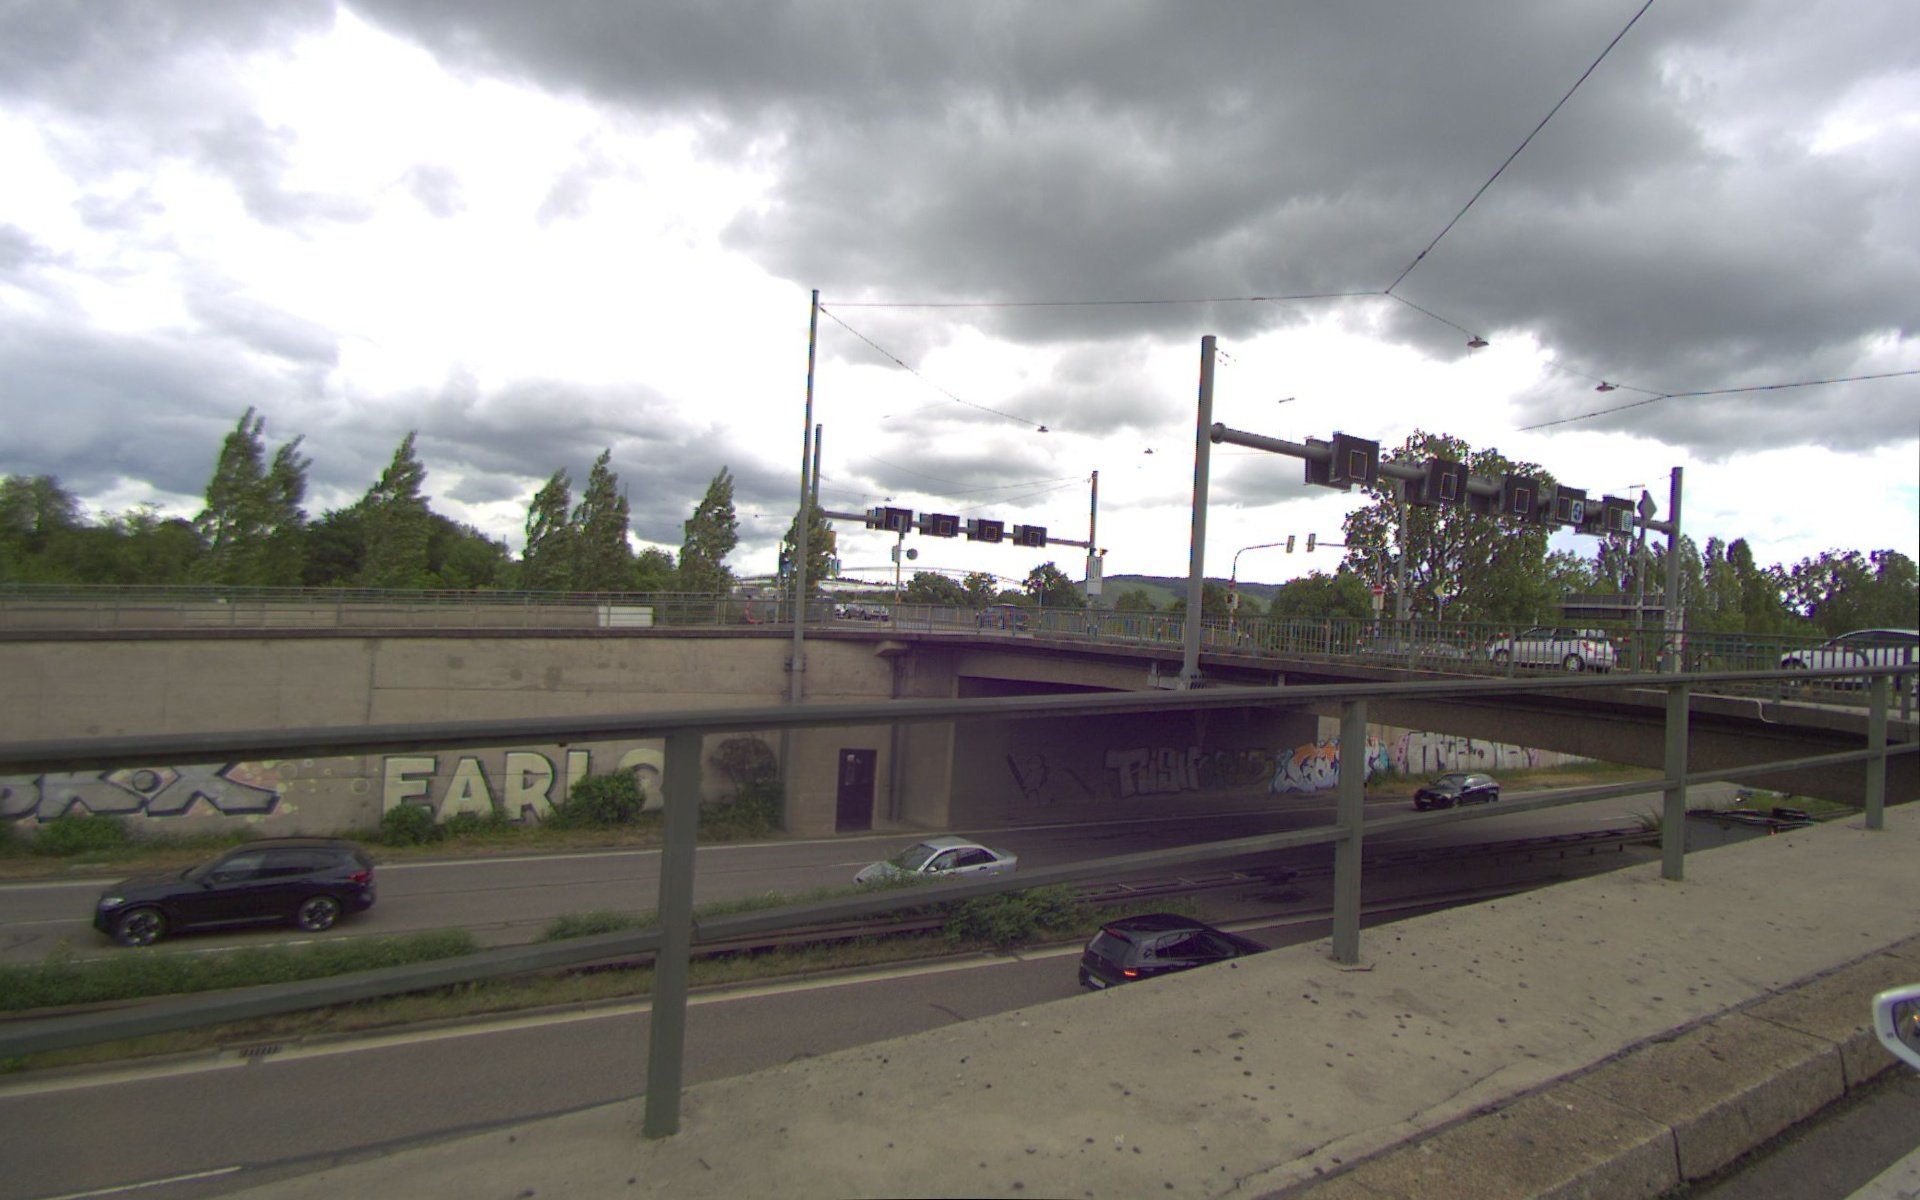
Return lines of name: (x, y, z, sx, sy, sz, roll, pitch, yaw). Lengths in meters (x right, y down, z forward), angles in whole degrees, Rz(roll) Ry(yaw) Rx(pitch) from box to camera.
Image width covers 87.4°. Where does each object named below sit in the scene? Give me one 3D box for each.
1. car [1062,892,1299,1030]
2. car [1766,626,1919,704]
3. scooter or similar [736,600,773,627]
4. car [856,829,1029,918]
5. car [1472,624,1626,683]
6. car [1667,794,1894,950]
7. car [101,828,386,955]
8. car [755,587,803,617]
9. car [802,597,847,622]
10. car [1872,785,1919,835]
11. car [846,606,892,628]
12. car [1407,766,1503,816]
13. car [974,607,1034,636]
car: (4.171, 6.657, 18.879, 4.168, 1.590, 1.742, 4, -2, -28)
car: (23.083, 1.573, 25.073, 1.904, 1.740, 4.395, 1, 0, -12)
scooter or similar: (-8.863, 0.568, 43.327, 1.402, 1.108, 0.539, 3, -2, -34)
car: (-0.414, 6.874, 25.521, 4.040, 1.548, 1.720, 4, -2, -30)
car: (19.187, 1.679, 32.883, 1.913, 1.740, 3.971, 1, 0, -28)
car: (22.879, 7.320, 27.880, 7.572, 3.282, 2.350, 4, -3, -30)
car: (-14.489, 5.883, 20.701, 4.502, 1.761, 1.906, 4, -3, -31)
car: (-13.057, 0.149, 72.145, 1.711, 2.040, 4.443, 1, 0, -35)
car: (-8.768, 0.628, 65.028, 1.560, 1.587, 3.715, 1, 0, -31)
car: (42.239, 9.295, 44.604, 4.241, 1.735, 1.827, 5, -3, -37)
car: (-6.037, 1.118, 66.602, 1.537, 1.372, 3.860, 1, 0, -31)
car: (22.836, 8.750, 46.305, 4.360, 1.865, 1.922, 4, -3, -30)
car: (2.733, 1.295, 62.795, 1.915, 1.740, 3.967, 1, 0, -31)
